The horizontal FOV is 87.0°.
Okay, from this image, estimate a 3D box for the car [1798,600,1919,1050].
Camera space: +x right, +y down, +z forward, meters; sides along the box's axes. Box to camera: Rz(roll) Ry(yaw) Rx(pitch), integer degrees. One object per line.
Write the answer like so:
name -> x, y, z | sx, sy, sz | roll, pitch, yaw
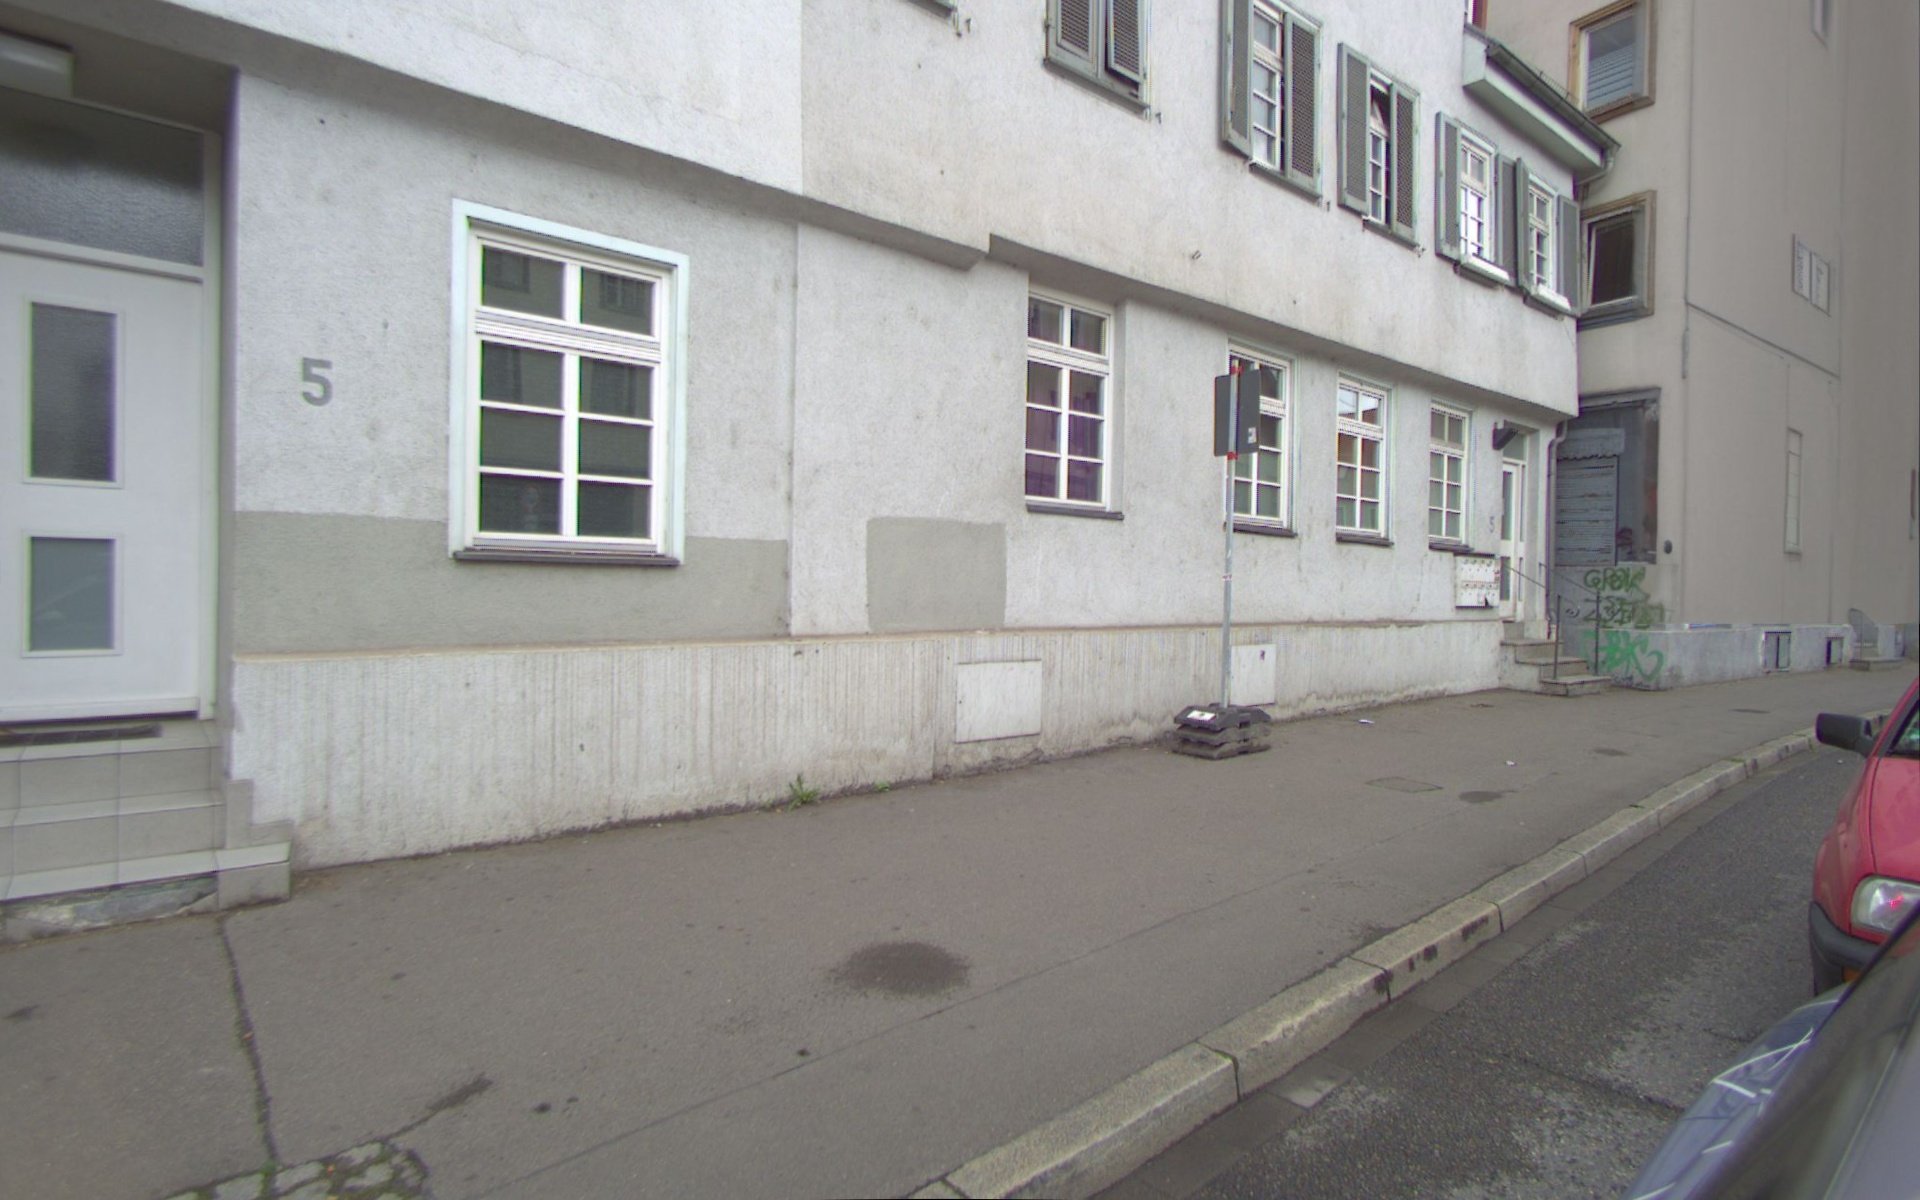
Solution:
car -> 5.044, 0.739, 4.167 | 3.930, 1.485, 1.802 | 0, -2, -41
